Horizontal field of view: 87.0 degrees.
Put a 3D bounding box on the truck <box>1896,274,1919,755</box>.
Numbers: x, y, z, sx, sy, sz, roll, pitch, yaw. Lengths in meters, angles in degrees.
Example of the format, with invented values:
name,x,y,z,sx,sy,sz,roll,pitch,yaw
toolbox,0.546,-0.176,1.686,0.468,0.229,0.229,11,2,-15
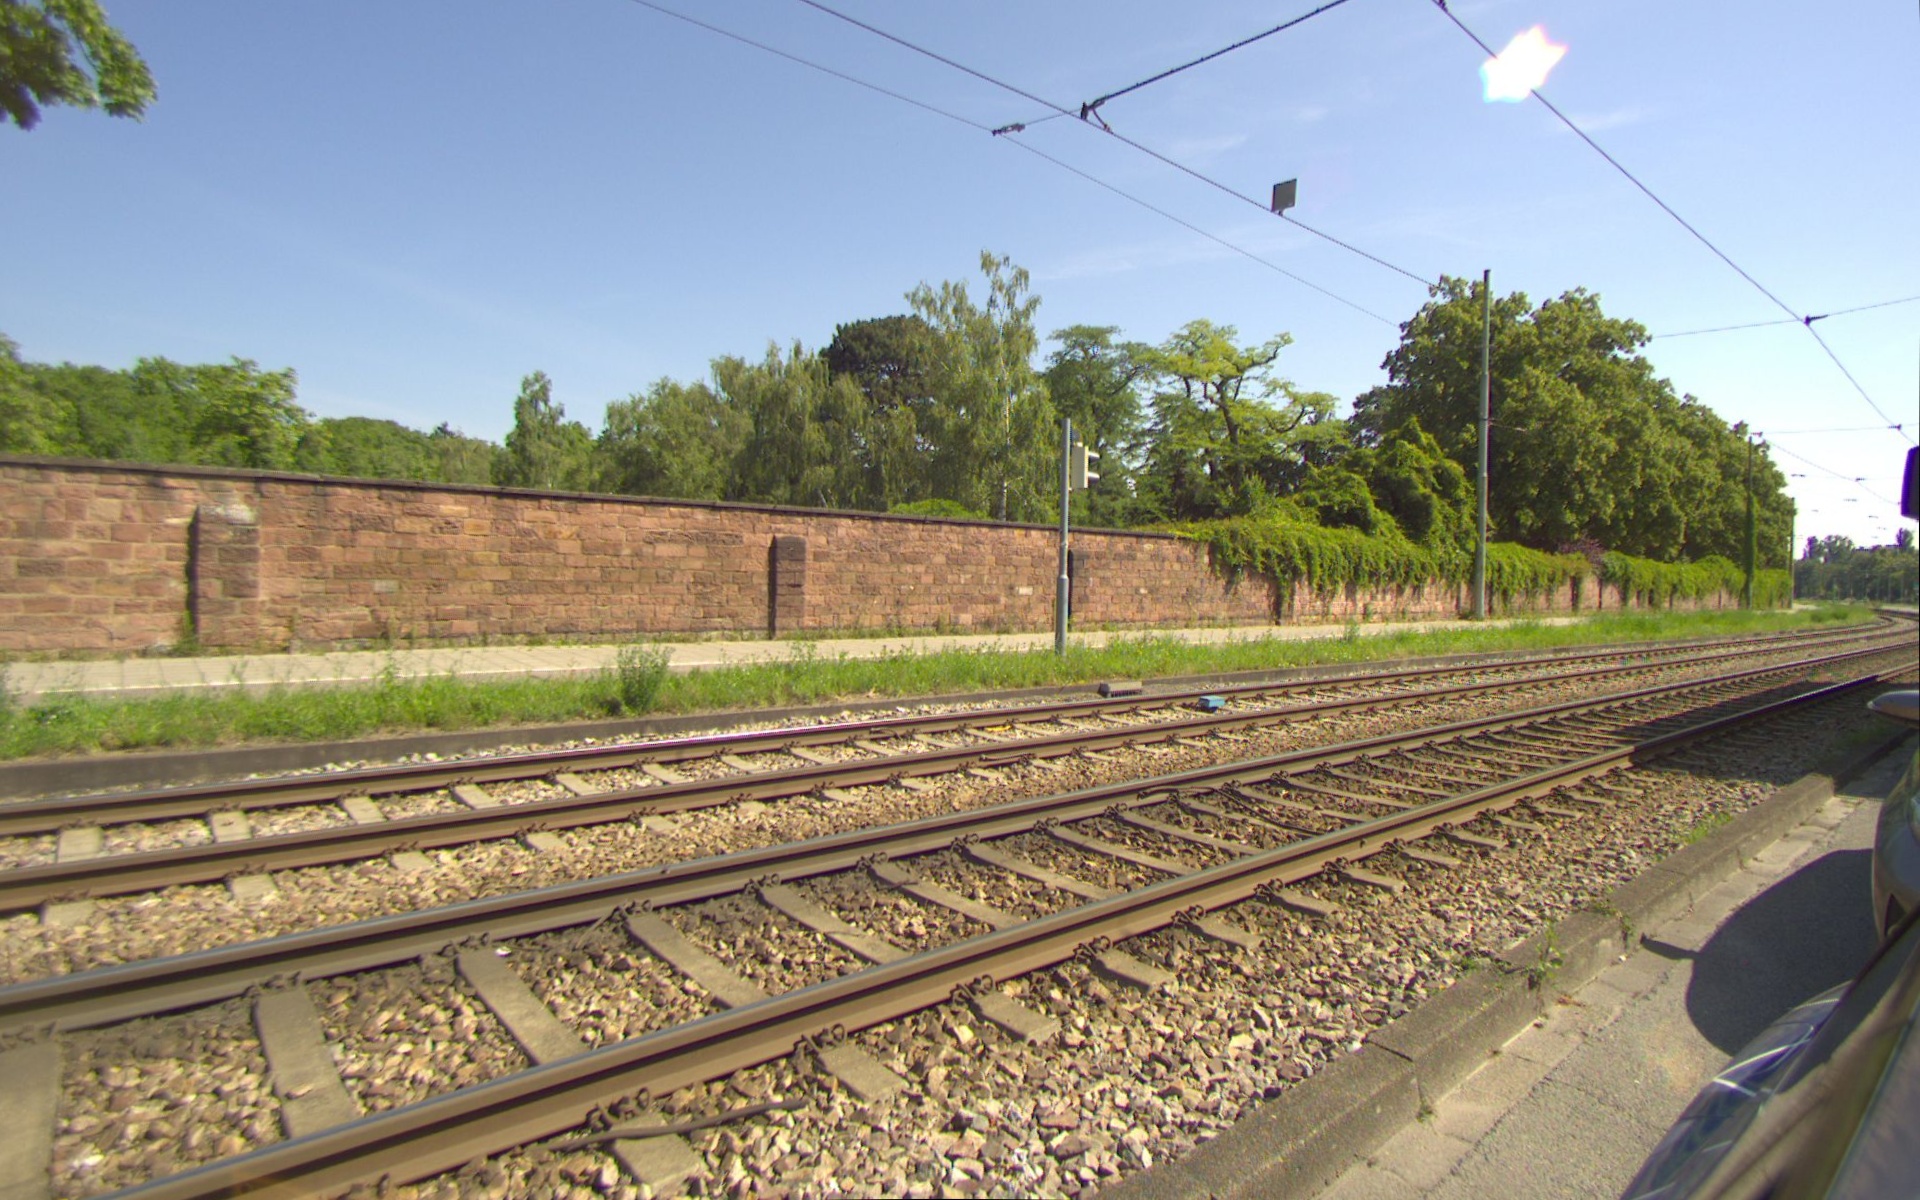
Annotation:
name,x,y,z,sx,sy,sz,roll,pitch,yaw
truck,14.255,-0.652,12.010,14.652,3.927,2.934,0,2,-41

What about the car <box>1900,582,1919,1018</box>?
name,x,y,z,sx,sy,sz,roll,pitch,yaw
car,5.103,0.669,4.006,3.930,1.448,1.573,0,2,-41
